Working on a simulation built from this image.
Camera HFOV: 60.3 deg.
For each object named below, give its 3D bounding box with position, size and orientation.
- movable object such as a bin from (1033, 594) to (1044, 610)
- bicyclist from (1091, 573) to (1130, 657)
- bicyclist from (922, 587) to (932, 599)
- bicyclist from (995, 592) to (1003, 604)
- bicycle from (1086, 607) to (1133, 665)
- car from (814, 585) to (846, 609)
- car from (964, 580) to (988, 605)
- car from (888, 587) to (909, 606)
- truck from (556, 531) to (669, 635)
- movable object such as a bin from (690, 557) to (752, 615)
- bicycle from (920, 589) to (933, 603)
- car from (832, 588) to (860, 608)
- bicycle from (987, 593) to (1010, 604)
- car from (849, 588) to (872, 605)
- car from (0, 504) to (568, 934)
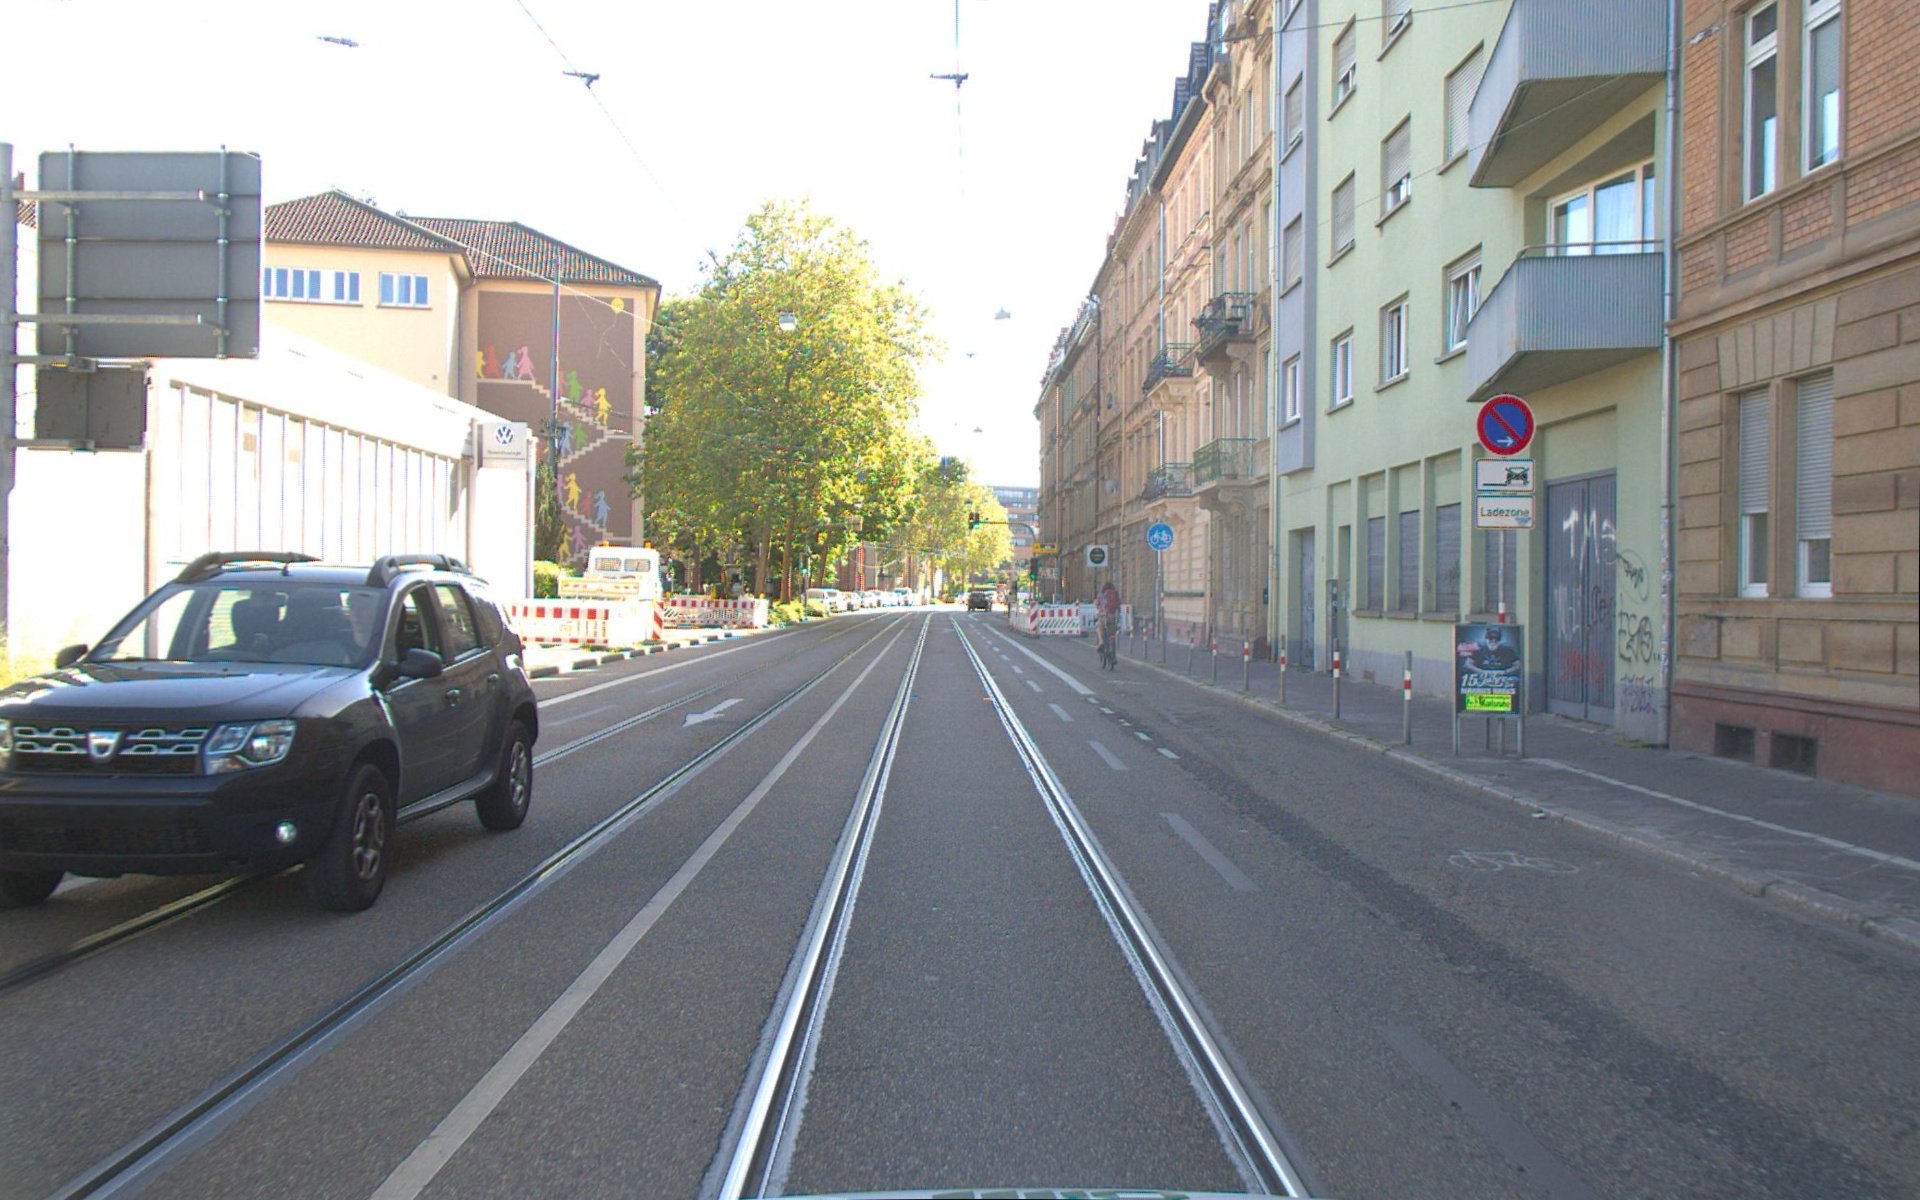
[{"bbox_3d":[5.272,0.114,110.967,0.660,1.054,0.813,0,1,0],"label":"movable object such as a bin"},{"bbox_3d":[3.166,0.310,34.931,0.653,1.726,1.043,2,0,-1],"label":"bicyclist"},{"bbox_3d":[-4.079,-0.837,205.473,1.054,1.452,1.147,2,0,7],"label":"bicyclist"},{"bbox_3d":[4.929,-0.264,208.946,0.880,1.452,1.054,2,0,8],"label":"bicyclist"},{"bbox_3d":[3.149,0.742,34.980,0.667,1.134,2.706,2,0,-1],"label":"bicycle"},{"bbox_3d":[-9.085,-0.197,116.014,1.712,1.636,4.044,2,0,2],"label":"car"},{"bbox_3d":[1.347,-0.652,144.069,1.953,2.049,4.000,2,0,0],"label":"car"},{"bbox_3d":[-6.874,-0.404,185.336,2.016,2.088,4.044,2,0,2],"label":"car"},{"bbox_3d":[-10.528,-0.482,50.664,2.488,2.879,6.370,2,0,-4],"label":"truck"},{"bbox_3d":[-11.743,-0.671,81.677,2.446,2.691,5.985,2,0,-3],"label":"movable object such as a bin"},{"bbox_3d":[-4.180,-0.474,205.514,1.208,1.600,2.899,2,0,6],"label":"bicycle"},{"bbox_3d":[-9.059,-0.153,131.547,1.712,1.536,4.044,2,0,2],"label":"car"},{"bbox_3d":[4.890,-0.194,208.968,2.826,1.253,0.885,2,0,10],"label":"bicycle"},{"bbox_3d":[-9.313,-0.302,154.491,1.712,1.521,4.044,2,0,2],"label":"car"},{"bbox_3d":[-3.510,0.493,8.905,1.723,1.726,4.144,2,0,0],"label":"car"}]
